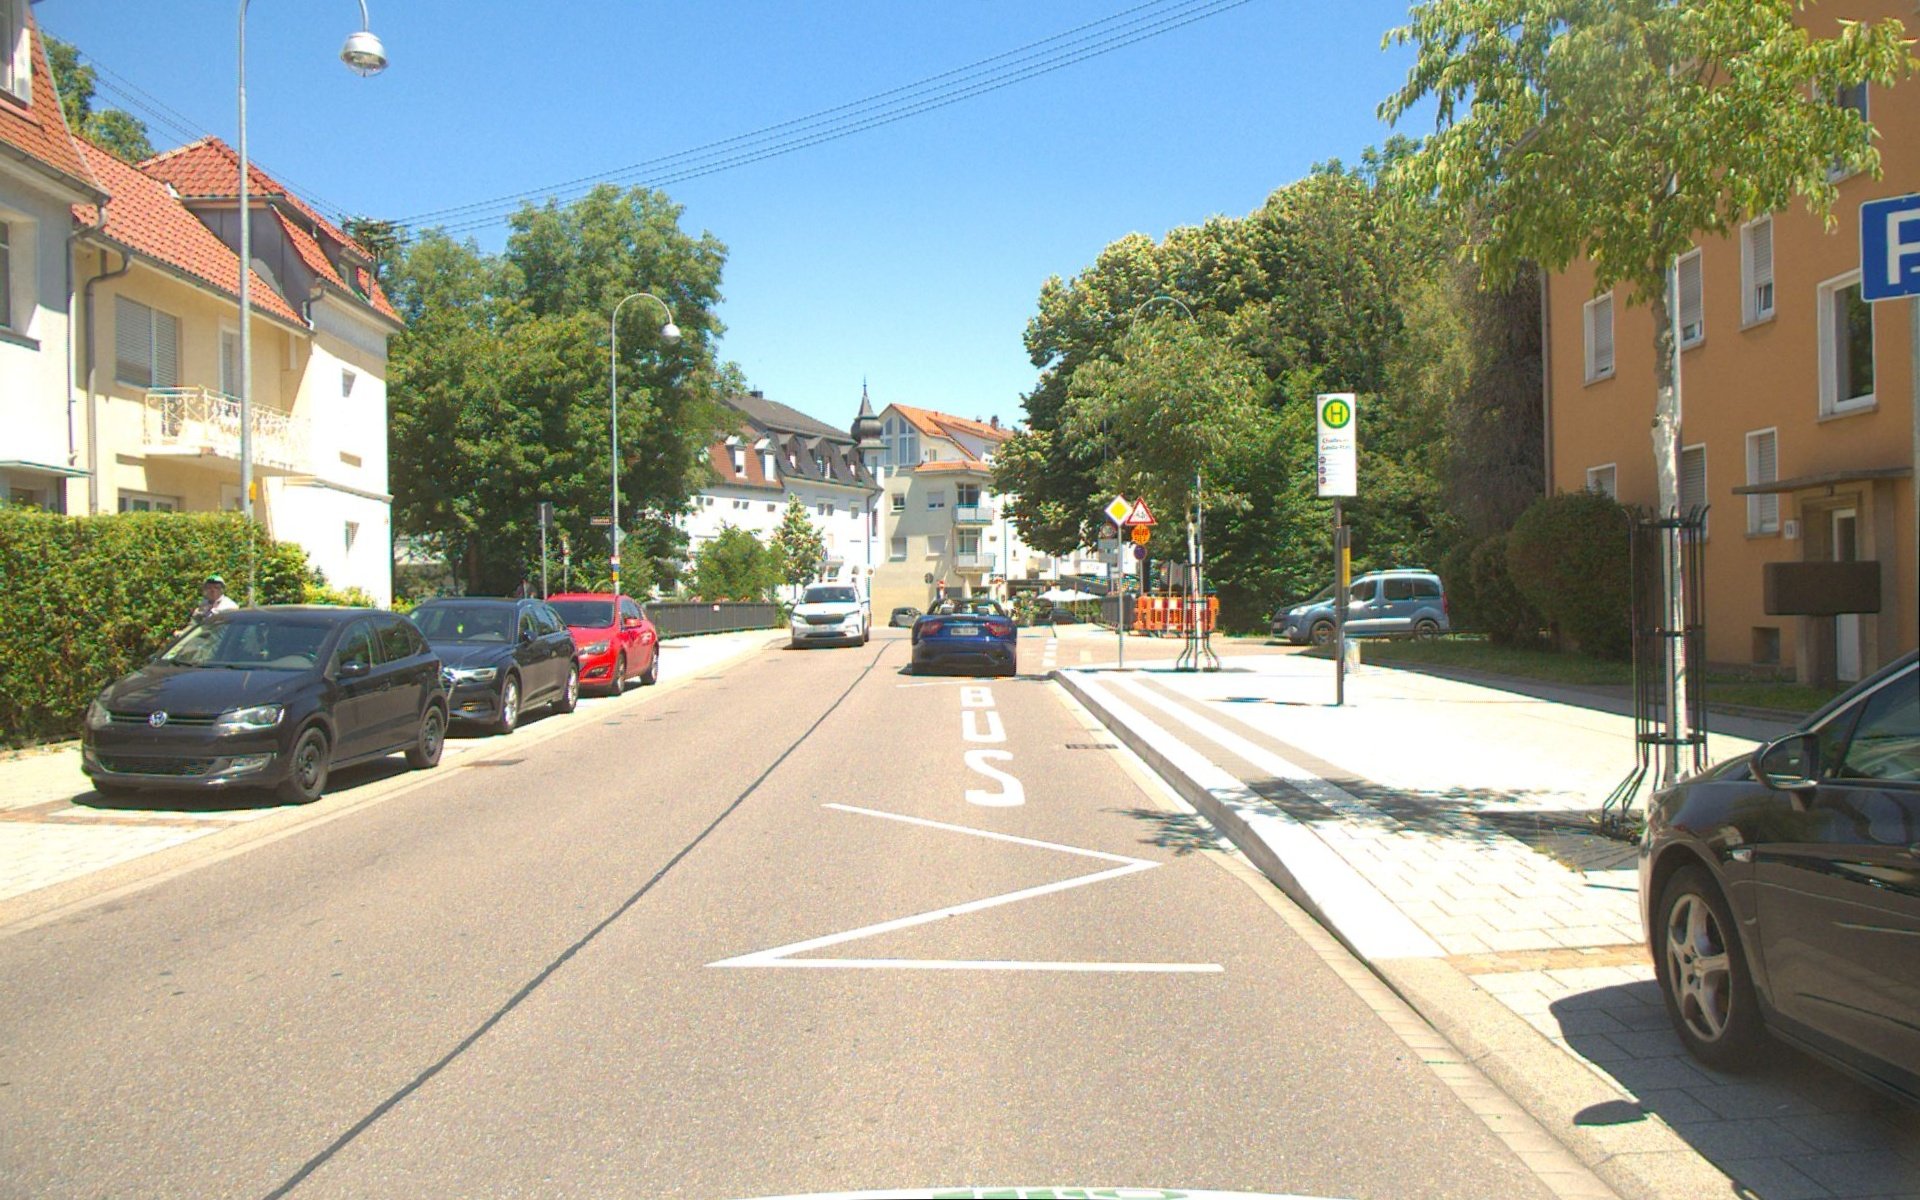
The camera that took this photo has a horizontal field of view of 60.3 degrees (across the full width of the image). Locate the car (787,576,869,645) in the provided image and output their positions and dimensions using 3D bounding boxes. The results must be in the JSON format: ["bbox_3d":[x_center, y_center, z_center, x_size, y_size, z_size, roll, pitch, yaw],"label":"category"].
[{"bbox_3d":[-3.386,0.237,43.145,1.840,1.624,4.358,-2,0,-2],"label":"car"}]

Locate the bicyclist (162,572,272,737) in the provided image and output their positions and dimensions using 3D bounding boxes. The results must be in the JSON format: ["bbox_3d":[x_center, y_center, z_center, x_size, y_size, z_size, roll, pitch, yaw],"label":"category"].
[{"bbox_3d":[-7.877,0.566,17.576,0.766,1.688,0.835,-1,0,-2],"label":"bicyclist"}]

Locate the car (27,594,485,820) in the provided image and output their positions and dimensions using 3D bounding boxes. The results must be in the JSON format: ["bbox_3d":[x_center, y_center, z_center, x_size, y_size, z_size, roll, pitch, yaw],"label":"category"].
[{"bbox_3d":[-5.550,0.742,13.706,1.750,1.484,4.200,2,1,4],"label":"car"}]

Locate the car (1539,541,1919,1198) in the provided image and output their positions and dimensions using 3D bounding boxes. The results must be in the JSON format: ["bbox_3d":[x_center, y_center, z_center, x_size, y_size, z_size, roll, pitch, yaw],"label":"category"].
[{"bbox_3d":[3.116,0.593,3.645,1.796,1.530,5.063,-3,0,-1],"label":"car"}]

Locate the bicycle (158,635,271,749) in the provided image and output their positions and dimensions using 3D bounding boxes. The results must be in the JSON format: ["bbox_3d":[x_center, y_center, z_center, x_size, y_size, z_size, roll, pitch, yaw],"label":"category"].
[{"bbox_3d":[-7.892,0.952,17.565,0.545,1.103,1.513,-1,0,-2],"label":"bicycle"}]

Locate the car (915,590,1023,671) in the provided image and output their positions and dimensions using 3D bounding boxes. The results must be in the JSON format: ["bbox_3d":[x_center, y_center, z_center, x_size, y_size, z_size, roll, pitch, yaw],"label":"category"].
[{"bbox_3d":[0.154,0.529,30.329,1.832,1.366,4.595,0,0,0],"label":"car"}]

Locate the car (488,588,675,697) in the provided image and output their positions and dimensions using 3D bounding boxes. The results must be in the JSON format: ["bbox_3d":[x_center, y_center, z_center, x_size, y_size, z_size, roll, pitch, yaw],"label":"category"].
[{"bbox_3d":[-5.828,0.588,26.055,1.839,1.505,4.737,2,0,0],"label":"car"}]

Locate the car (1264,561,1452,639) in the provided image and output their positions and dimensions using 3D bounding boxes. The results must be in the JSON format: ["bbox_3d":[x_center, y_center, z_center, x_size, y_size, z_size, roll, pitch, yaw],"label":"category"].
[{"bbox_3d":[9.923,0.018,41.365,4.256,1.871,1.747,0,-1,-9],"label":"car"}]

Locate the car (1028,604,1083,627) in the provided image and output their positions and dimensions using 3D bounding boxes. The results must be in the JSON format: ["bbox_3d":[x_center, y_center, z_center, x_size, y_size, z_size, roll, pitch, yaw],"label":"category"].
[{"bbox_3d":[6.483,1.058,111.729,1.684,1.486,4.112,1,0,37],"label":"car"}]

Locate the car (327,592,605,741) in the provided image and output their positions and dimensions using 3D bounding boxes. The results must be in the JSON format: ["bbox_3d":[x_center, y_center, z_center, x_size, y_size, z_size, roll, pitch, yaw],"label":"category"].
[{"bbox_3d":[-5.793,0.689,20.136,1.825,1.487,5.306,1,1,-1],"label":"car"}]
